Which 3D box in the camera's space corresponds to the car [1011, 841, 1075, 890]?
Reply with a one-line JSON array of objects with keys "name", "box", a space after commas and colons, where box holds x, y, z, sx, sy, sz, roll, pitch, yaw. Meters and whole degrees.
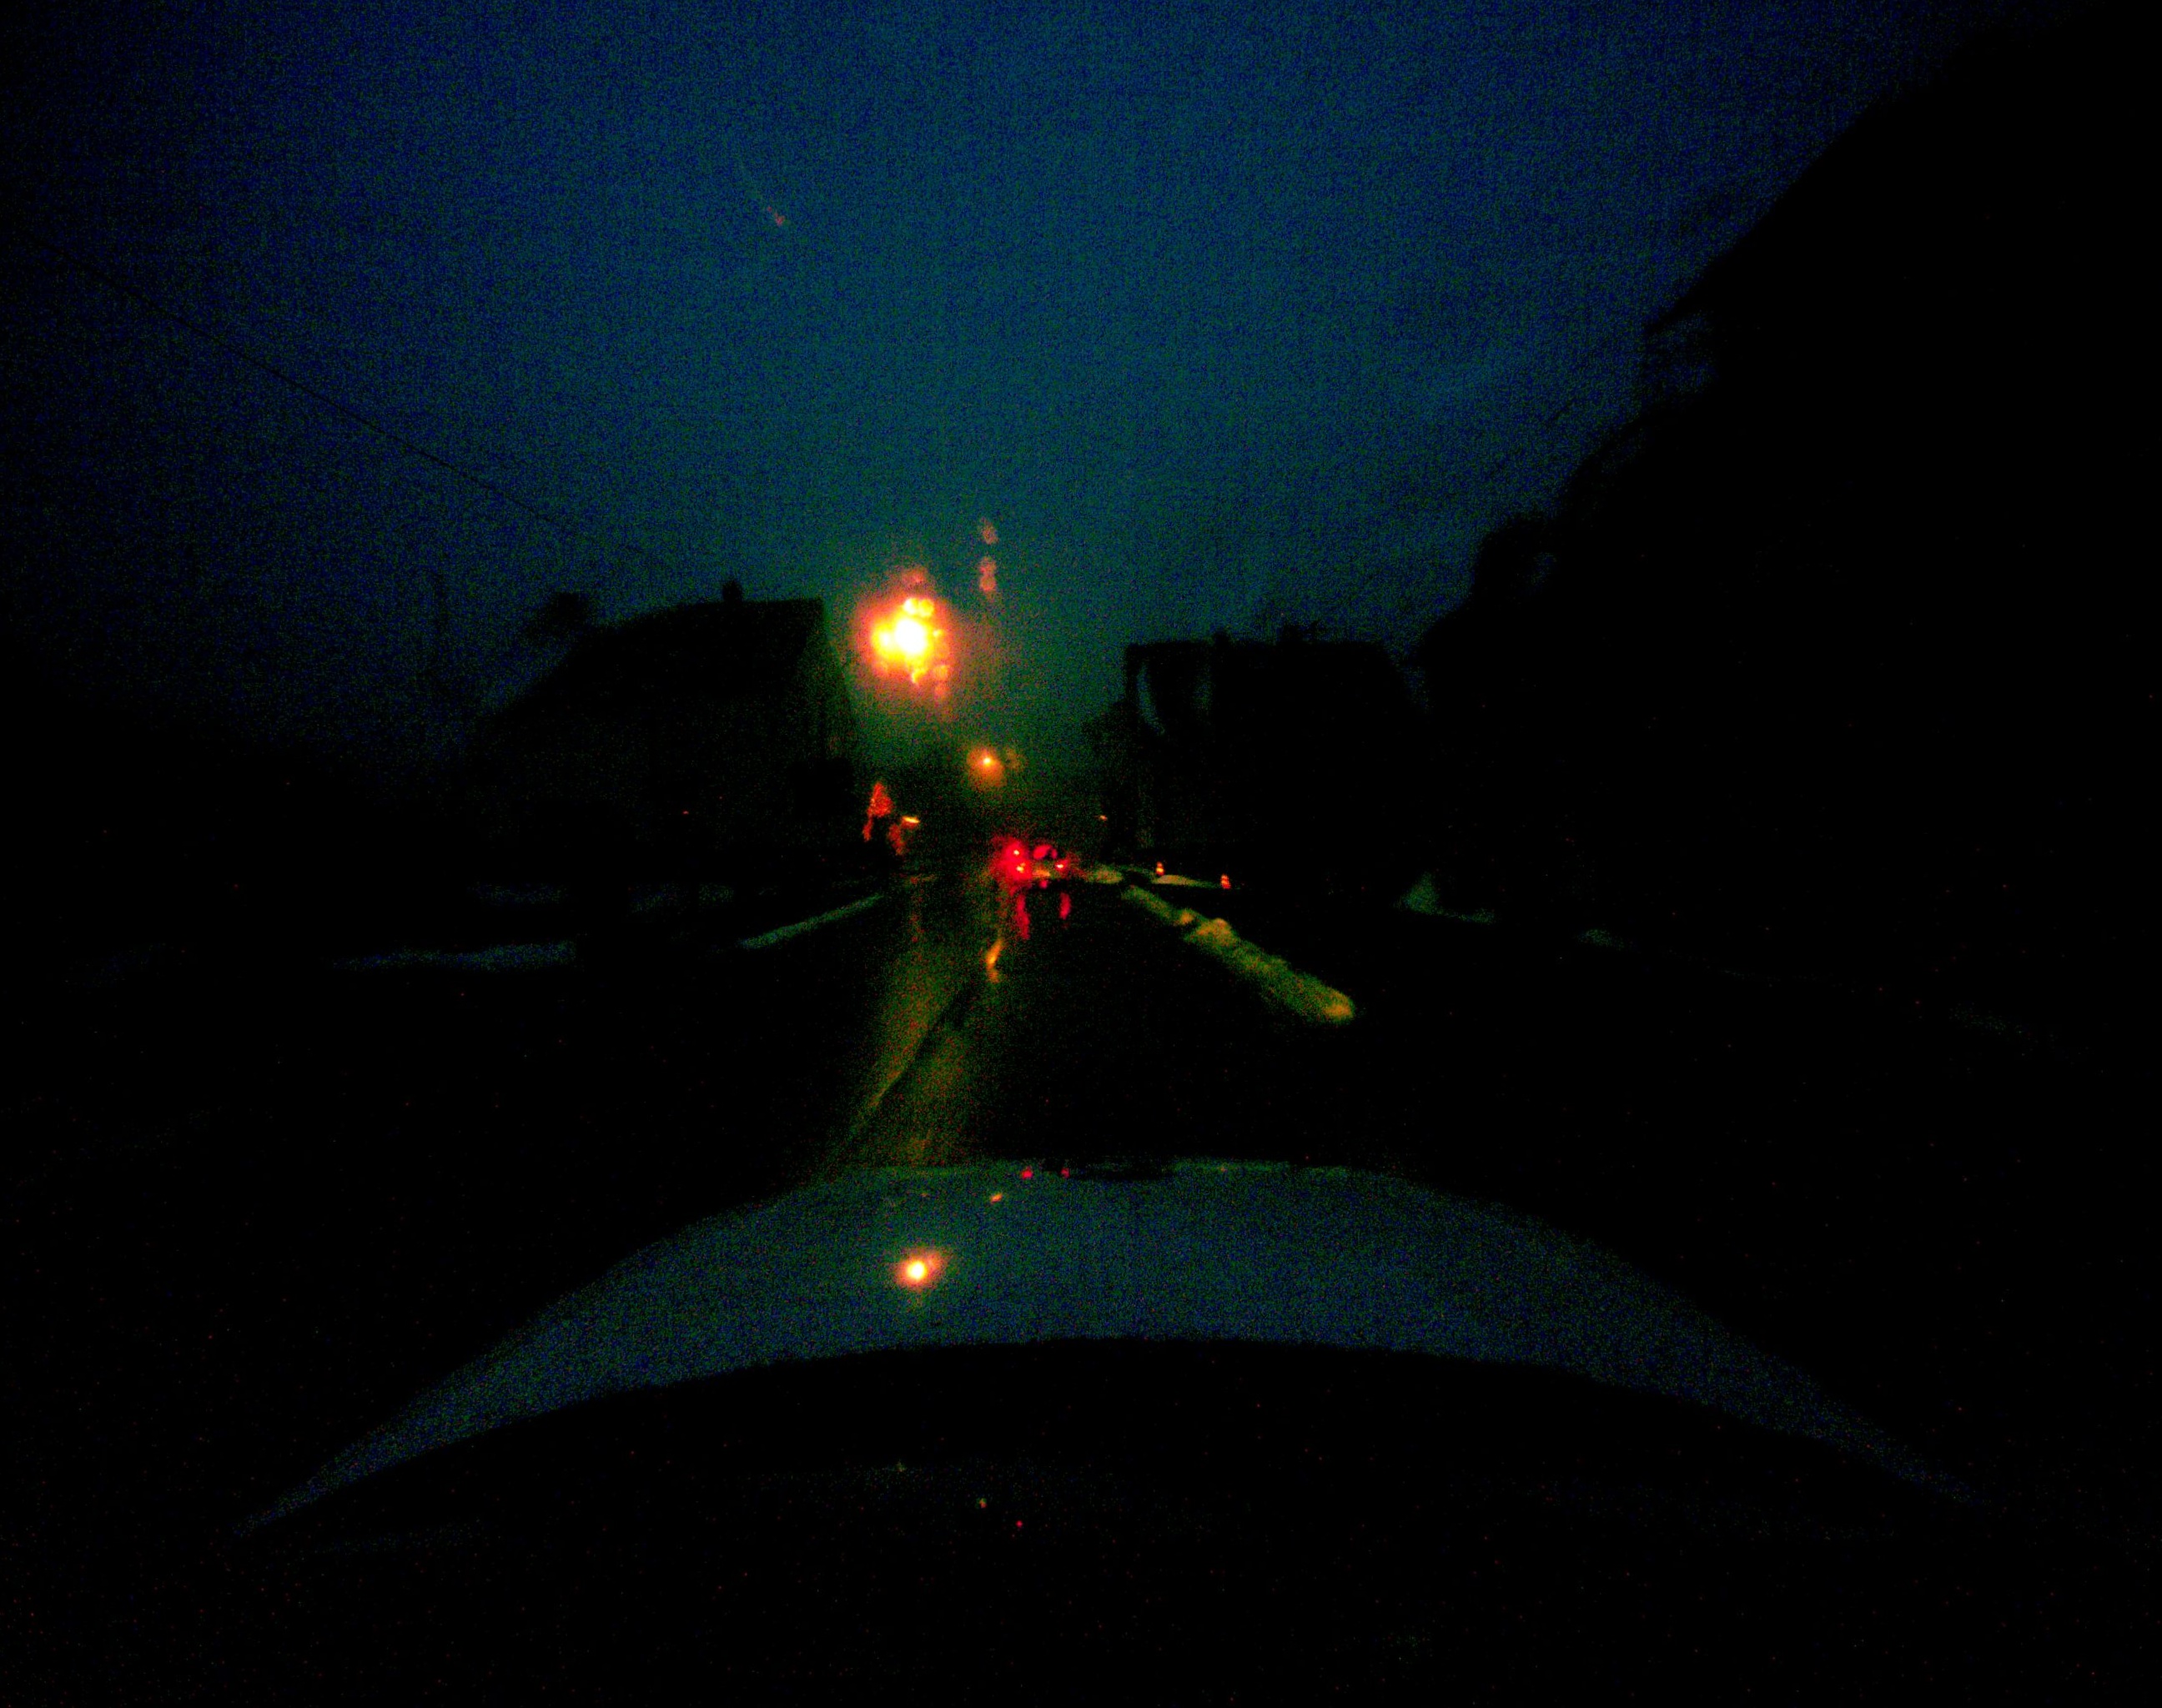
[{"name": "car", "box": [-1.307, 0.410, 27.417, 1.989, 1.508, 3.994, 1, -2, -4]}]

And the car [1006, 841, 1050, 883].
[{"name": "car", "box": [-2.655, 0.429, 41.683, 1.988, 2.014, 3.997, 1, -2, -1]}]
